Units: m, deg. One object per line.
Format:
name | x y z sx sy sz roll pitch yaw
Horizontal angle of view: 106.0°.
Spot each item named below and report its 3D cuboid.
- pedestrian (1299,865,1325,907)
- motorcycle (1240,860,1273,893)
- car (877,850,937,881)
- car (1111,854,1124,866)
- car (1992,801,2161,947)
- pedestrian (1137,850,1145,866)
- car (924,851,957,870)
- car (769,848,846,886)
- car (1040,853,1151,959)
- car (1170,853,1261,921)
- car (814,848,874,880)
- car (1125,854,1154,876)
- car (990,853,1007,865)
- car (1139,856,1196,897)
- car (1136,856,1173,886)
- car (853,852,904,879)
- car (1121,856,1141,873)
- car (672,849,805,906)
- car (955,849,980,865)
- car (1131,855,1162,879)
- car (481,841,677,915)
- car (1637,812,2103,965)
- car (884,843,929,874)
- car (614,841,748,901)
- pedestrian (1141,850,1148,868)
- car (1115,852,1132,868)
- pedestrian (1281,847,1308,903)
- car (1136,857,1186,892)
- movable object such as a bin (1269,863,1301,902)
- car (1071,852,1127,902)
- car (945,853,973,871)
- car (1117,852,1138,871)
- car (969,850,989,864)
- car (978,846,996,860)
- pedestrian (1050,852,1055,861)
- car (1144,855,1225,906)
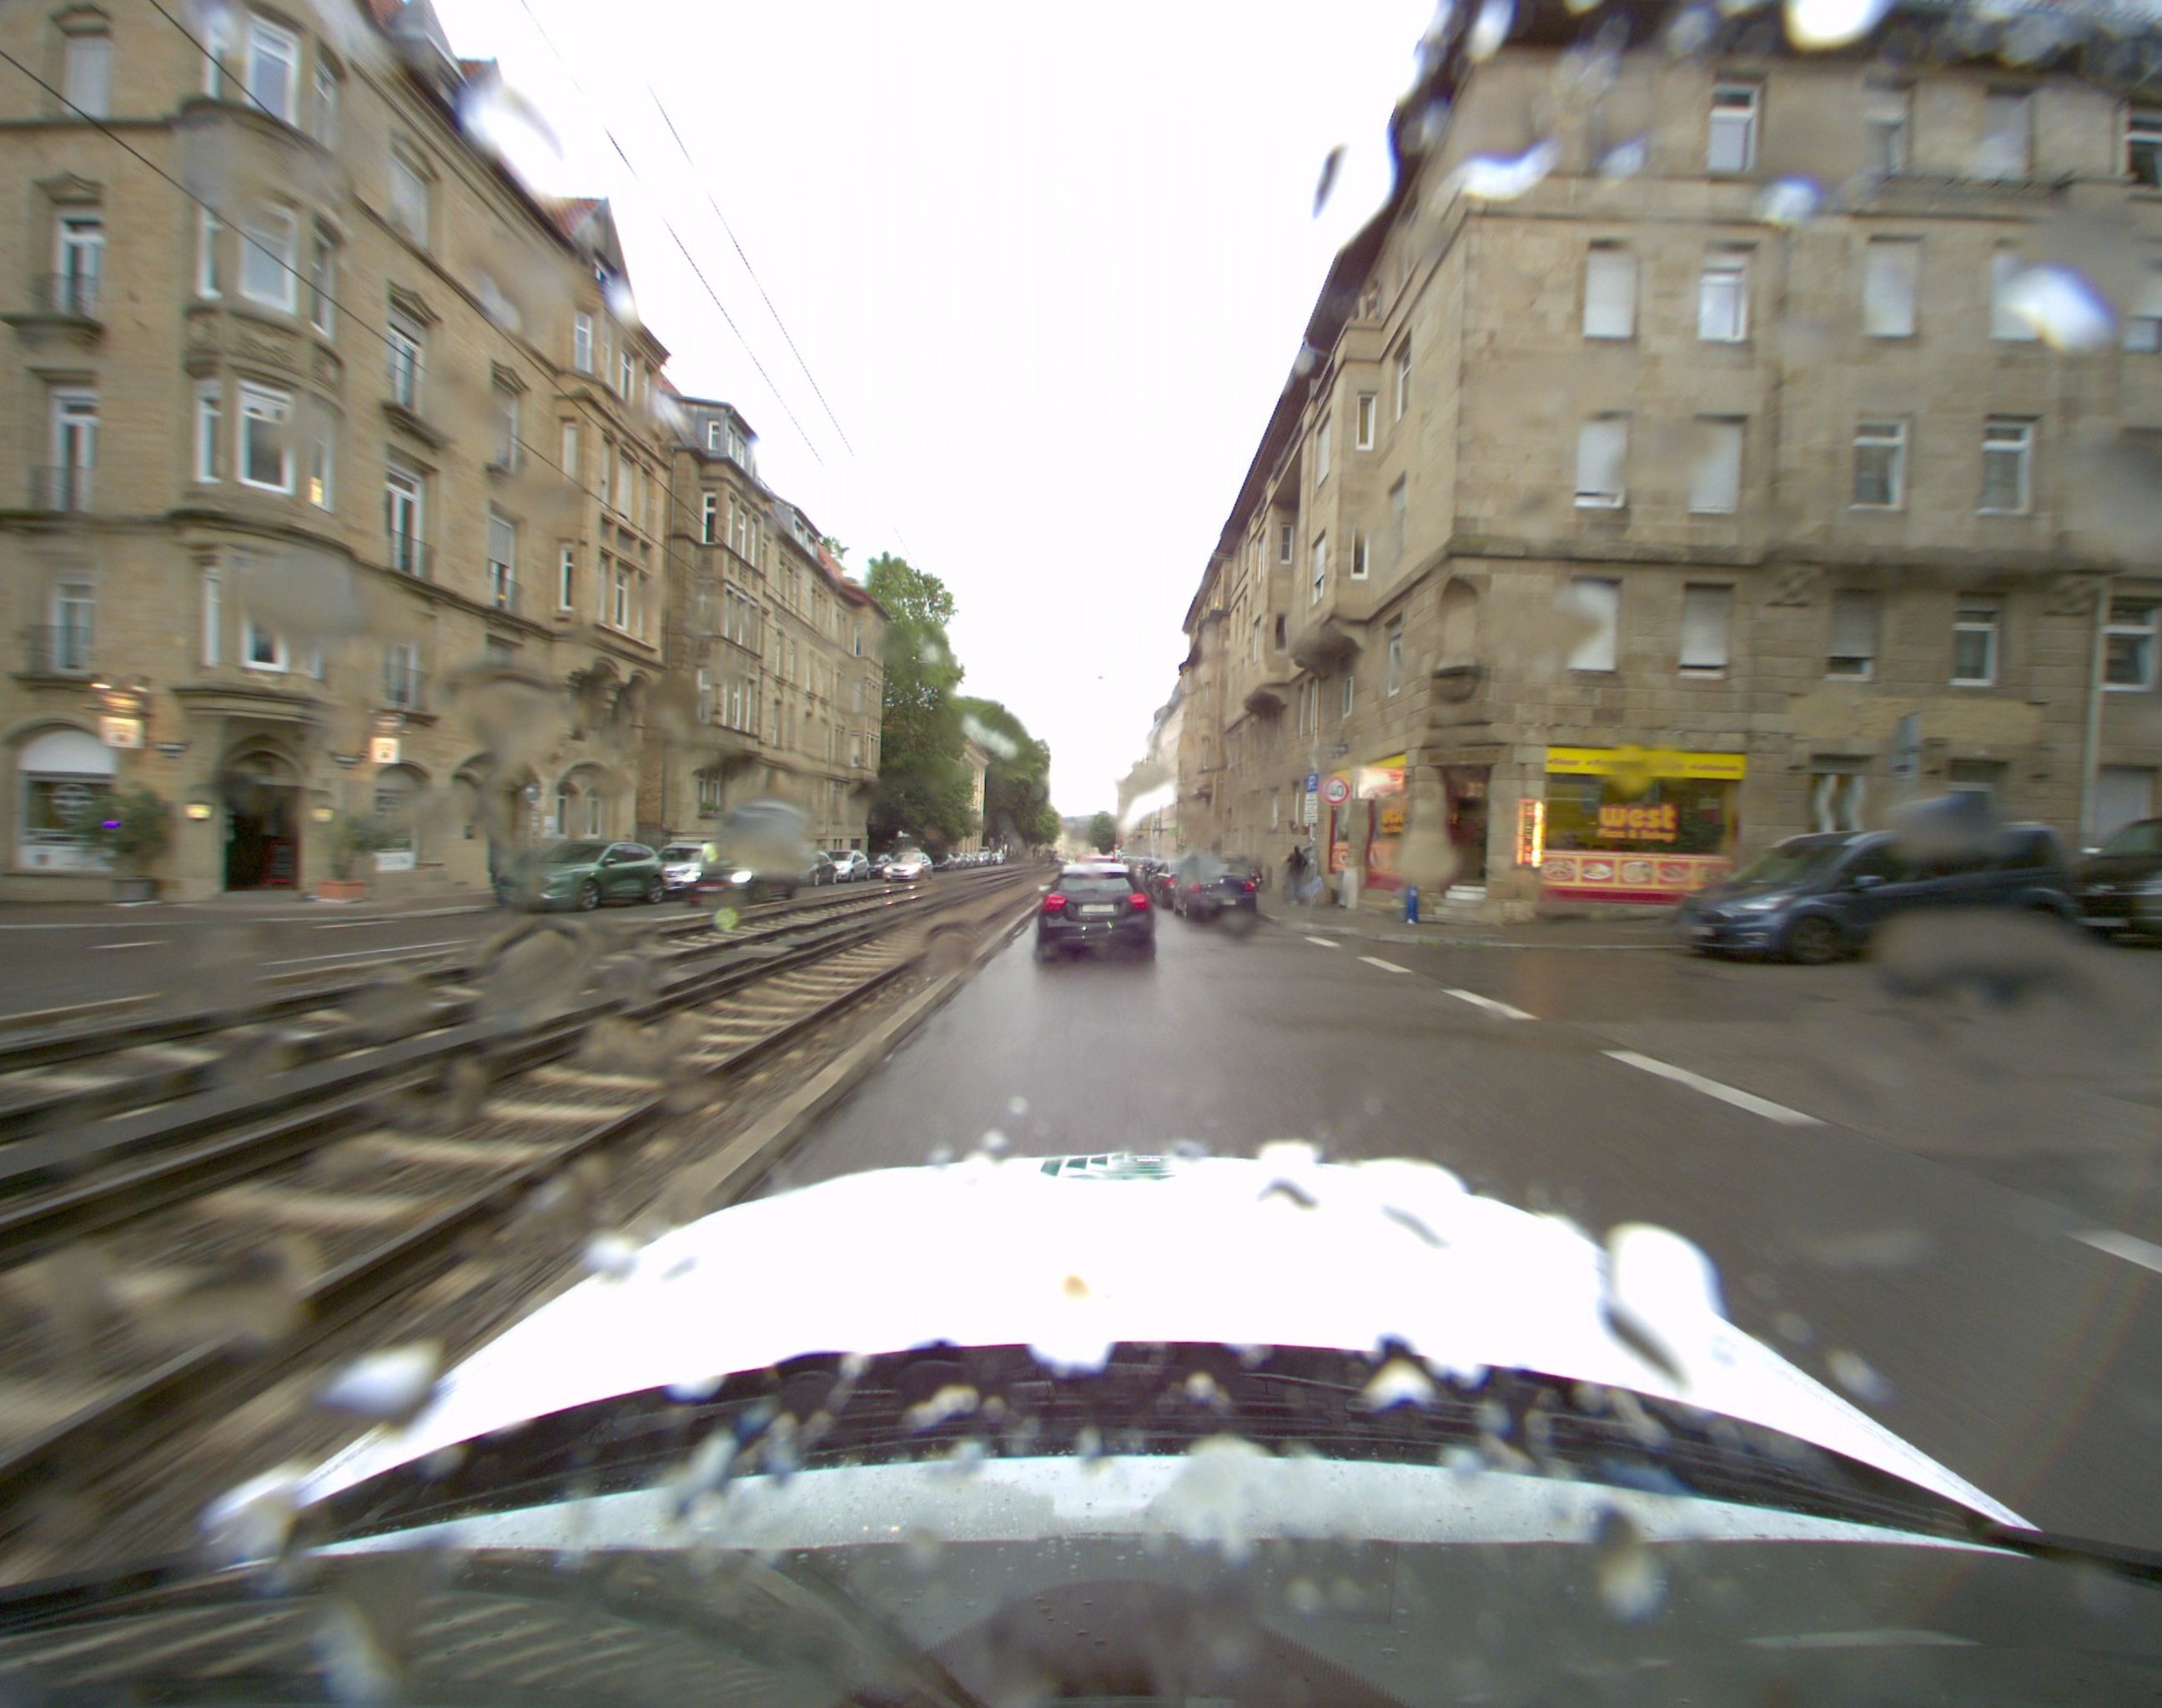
pedestrian | 5.962 0.819 21.032 0.509 1.050 0.627 1 0 1
motorcycle | 6.730 0.826 31.330 0.702 1.199 2.746 1 0 1
car | -8.437 0.534 39.806 1.975 1.457 4.294 0 0 0
car | 4.773 0.790 106.337 1.687 1.529 4.001 1 0 2
car | 16.571 0.183 11.646 4.688 1.926 2.000 -3 -2 1
pedestrian | 6.972 0.423 94.705 0.743 1.833 1.039 -2 0 2
car | -11.093 0.508 64.578 1.843 1.464 4.549 -1 0 -1
car | -11.696 0.529 35.139 1.864 1.508 4.170 0 0 1
car | 0.228 0.747 13.471 1.575 1.505 3.574 1 0 1
car | 3.156 0.723 19.727 1.665 1.444 3.791 -1 0 2
car | -11.535 0.468 39.918 1.688 1.524 3.856 0 0 2
car | 3.932 0.711 55.145 1.662 1.434 3.955 0 0 0
car | -10.263 0.633 101.263 1.494 1.391 3.989 -1 0 2
car | 3.198 0.797 30.629 1.701 1.398 4.017 1 0 0
car | 3.598 0.821 40.255 1.539 1.415 3.445 1 0 0
car | -11.255 0.605 45.603 1.757 1.398 4.269 0 0 0
car | 4.376 0.892 71.608 1.564 1.462 3.601 0 0 2
car | -8.910 0.563 21.547 1.697 1.388 3.785 0 0 4
car | -10.900 0.274 78.251 1.748 1.413 4.153 -1 0 0
car | 3.971 0.771 49.744 1.586 1.434 3.682 0 0 -1
car | -11.969 0.514 19.840 1.851 1.602 4.433 0 0 3
car | 11.064 0.452 11.712 4.762 1.861 2.000 -2 0 0
car | -11.148 0.284 52.394 1.794 1.846 4.819 0 0 1
car | -11.842 0.474 24.466 1.853 1.652 4.314 0 0 0
pedestrian | 6.223 0.498 79.838 0.605 1.763 0.688 -1 0 0
car | 4.756 0.658 90.799 1.821 1.750 4.470 1 0 3
pedestrian | 6.034 0.588 23.036 0.559 1.535 0.710 1 0 1
car | 3.452 0.859 35.914 1.782 1.462 4.082 1 0 0
movable object such as a bin | 6.002 0.831 24.017 0.663 1.103 1.124 1 0 1
car | 0.627 0.745 28.218 1.779 1.581 4.001 1 0 1
car | -10.942 0.661 73.412 1.748 1.536 4.543 -1 0 0
car | 4.301 0.679 76.028 1.785 1.765 4.212 0 0 1
car | -10.464 0.317 83.810 1.534 1.413 3.953 -1 0 0
car | -10.407 -0.076 90.326 1.534 1.505 4.154 -1 0 0
pedestrian | -4.995 0.433 142.351 0.803 1.633 0.892 -1 0 1
car | 3.075 0.747 25.076 1.750 1.387 4.481 -1 0 -2
